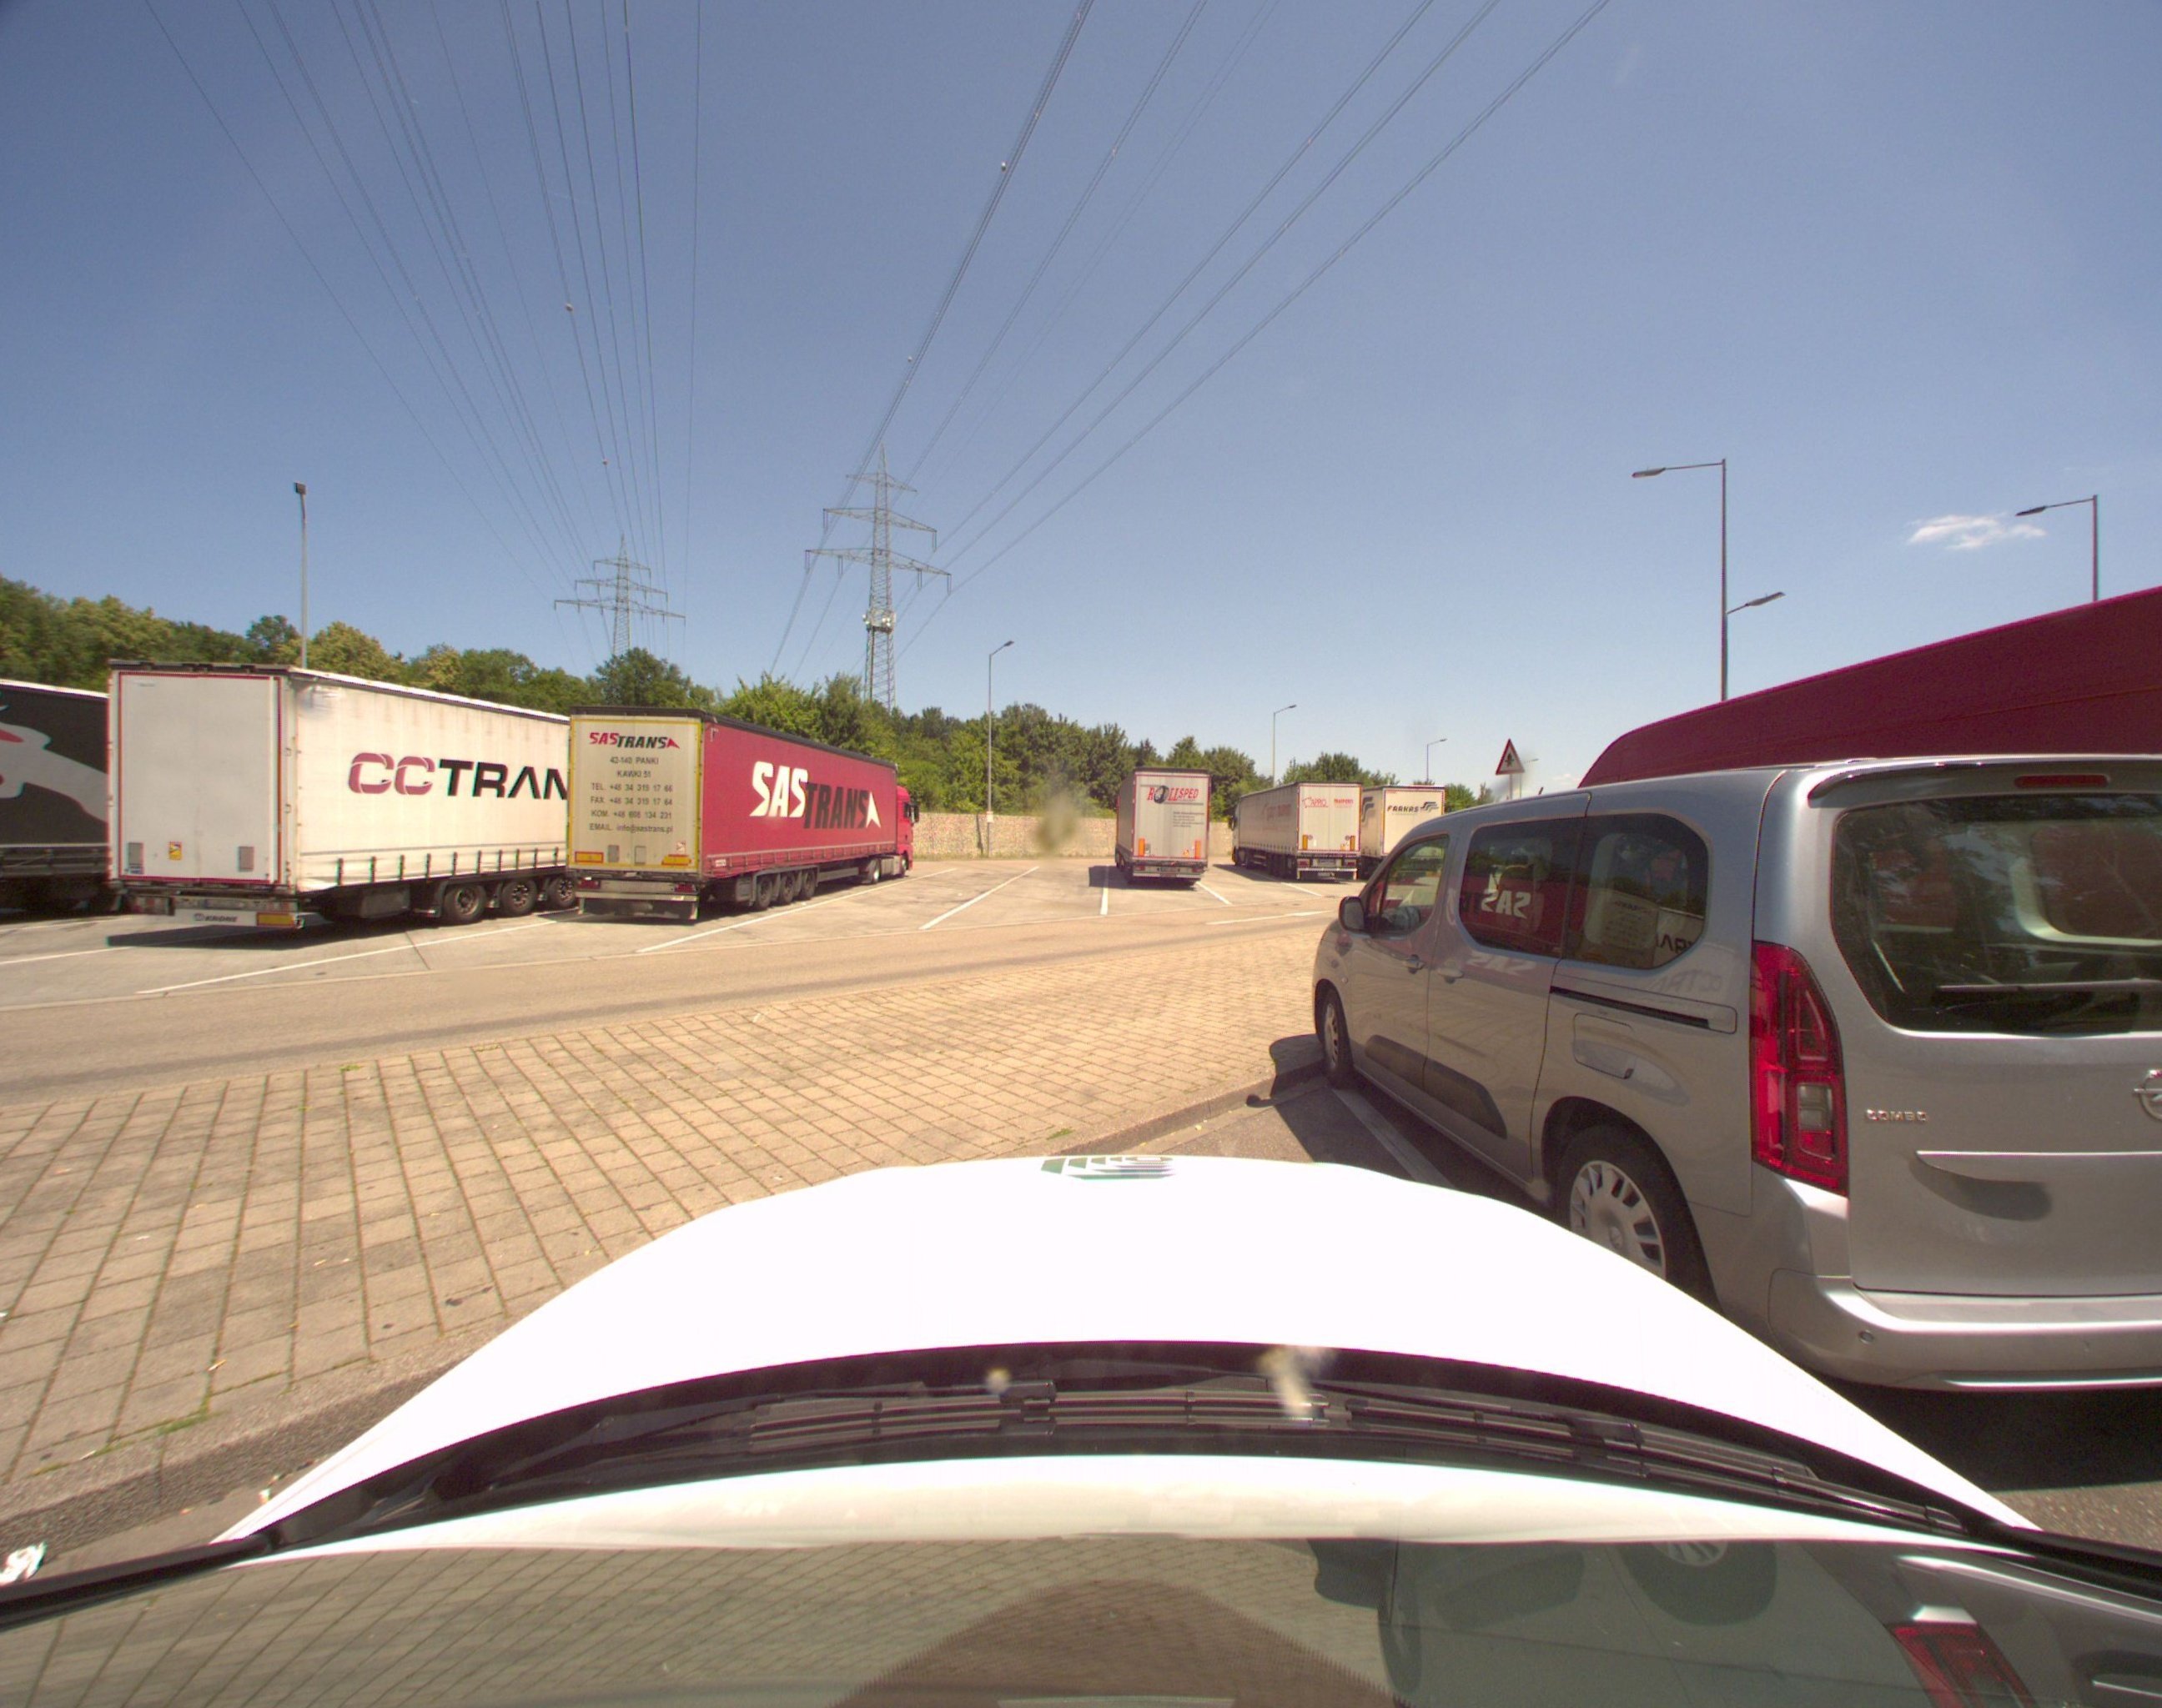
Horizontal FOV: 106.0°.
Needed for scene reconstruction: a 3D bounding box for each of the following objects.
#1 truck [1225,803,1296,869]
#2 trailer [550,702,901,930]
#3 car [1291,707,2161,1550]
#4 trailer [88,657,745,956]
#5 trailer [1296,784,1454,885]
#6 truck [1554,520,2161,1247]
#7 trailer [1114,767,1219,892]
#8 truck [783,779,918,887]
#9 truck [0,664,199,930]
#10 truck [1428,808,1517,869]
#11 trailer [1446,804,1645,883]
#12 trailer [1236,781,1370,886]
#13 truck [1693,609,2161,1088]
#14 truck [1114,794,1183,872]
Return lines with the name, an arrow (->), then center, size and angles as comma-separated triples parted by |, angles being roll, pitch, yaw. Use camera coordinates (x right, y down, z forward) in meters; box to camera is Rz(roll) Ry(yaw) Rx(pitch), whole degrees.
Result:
truck -> 10.189, -1.069, 46.759 | 2.852, 3.521, 5.903 | 1, 2, 2
trailer -> -8.068, -0.940, 21.920 | 2.781, 4.084, 14.139 | 1, 2, 2
car -> 2.485, 0.580, 3.897 | 1.864, 1.863, 4.176 | 1, 1, 0
trailer -> -12.132, -0.904, 18.351 | 2.785, 4.084, 14.139 | 1, 2, 2
trailer -> 13.599, -1.030, 39.621 | 2.801, 3.989, 14.403 | 1, 2, 2
truck -> 5.131, 0.125, 4.921 | 1.968, 2.622, 5.314 | 0, -1, 7
trailer -> 3.060, -1.058, 33.710 | 3.122, 3.989, 14.401 | 1, 2, 1
truck -> -7.819, -0.777, 28.490 | 2.840, 3.327, 5.903 | 1, 2, 2
truck -> -18.545, -0.961, 13.799 | 2.726, 4.239, 3.997 | 1, 2, 2
truck -> 24.353, -1.001, 50.998 | 2.792, 3.521, 5.903 | 1, 2, 2
trailer -> 24.096, -0.729, 43.767 | 2.801, 3.507, 14.403 | 1, 2, 2
trailer -> 9.926, -1.039, 38.658 | 2.801, 3.989, 14.403 | 1, 2, 2
truck -> 7.986, -0.031, 6.469 | 2.444, 2.912, 5.663 | -1, -1, 7
truck -> 3.226, -1.074, 40.604 | 3.092, 3.566, 5.903 | 1, 2, 2
